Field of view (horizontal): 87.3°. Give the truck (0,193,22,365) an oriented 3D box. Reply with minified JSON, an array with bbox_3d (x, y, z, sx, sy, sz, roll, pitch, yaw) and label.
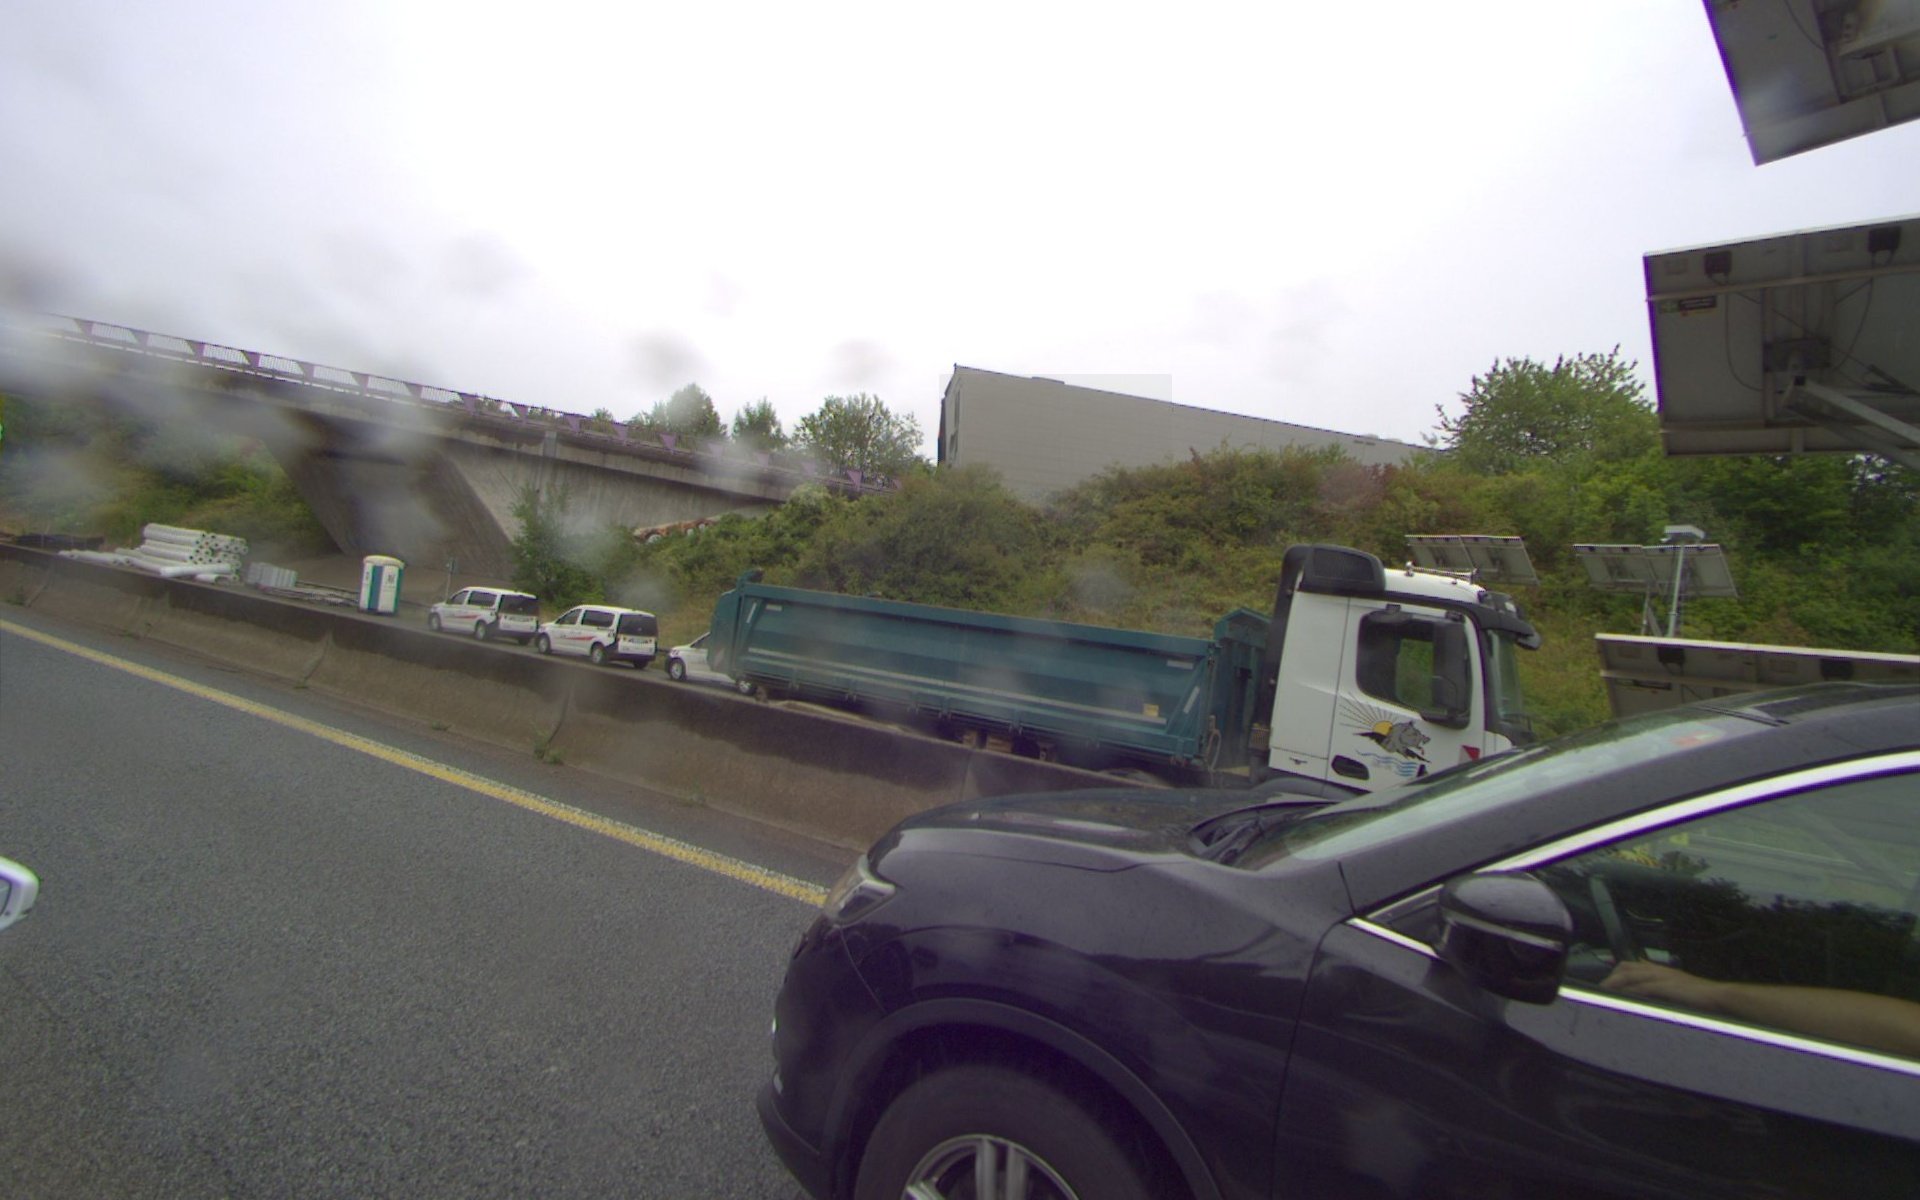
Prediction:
[{"bbox_3d":[-24.345,-4.474,19.308,20.042,5.739,3.986,6,-1,33],"label":"truck"}]

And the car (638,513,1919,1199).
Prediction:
[{"bbox_3d":[1.799,0.960,1.792,4.564,1.694,1.893,6,-2,31],"label":"car"}]

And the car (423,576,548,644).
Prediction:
[{"bbox_3d":[-16.677,0.351,35.324,4.088,1.829,1.851,6,-2,31],"label":"car"}]

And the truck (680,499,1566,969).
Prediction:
[{"bbox_3d":[1.203,0.879,10.955,8.968,3.168,2.525,6,-2,32],"label":"truck"}]

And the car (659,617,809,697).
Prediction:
[{"bbox_3d":[-6.525,1.631,28.971,4.057,1.745,1.731,6,-2,34],"label":"car"}]

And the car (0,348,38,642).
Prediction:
[{"bbox_3d":[-11.570,-1.235,9.806,6.017,2.707,2.148,6,-2,33],"label":"car"}]

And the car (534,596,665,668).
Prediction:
[{"bbox_3d":[-11.494,1.003,31.989,4.058,1.765,1.731,6,-2,35],"label":"car"}]
